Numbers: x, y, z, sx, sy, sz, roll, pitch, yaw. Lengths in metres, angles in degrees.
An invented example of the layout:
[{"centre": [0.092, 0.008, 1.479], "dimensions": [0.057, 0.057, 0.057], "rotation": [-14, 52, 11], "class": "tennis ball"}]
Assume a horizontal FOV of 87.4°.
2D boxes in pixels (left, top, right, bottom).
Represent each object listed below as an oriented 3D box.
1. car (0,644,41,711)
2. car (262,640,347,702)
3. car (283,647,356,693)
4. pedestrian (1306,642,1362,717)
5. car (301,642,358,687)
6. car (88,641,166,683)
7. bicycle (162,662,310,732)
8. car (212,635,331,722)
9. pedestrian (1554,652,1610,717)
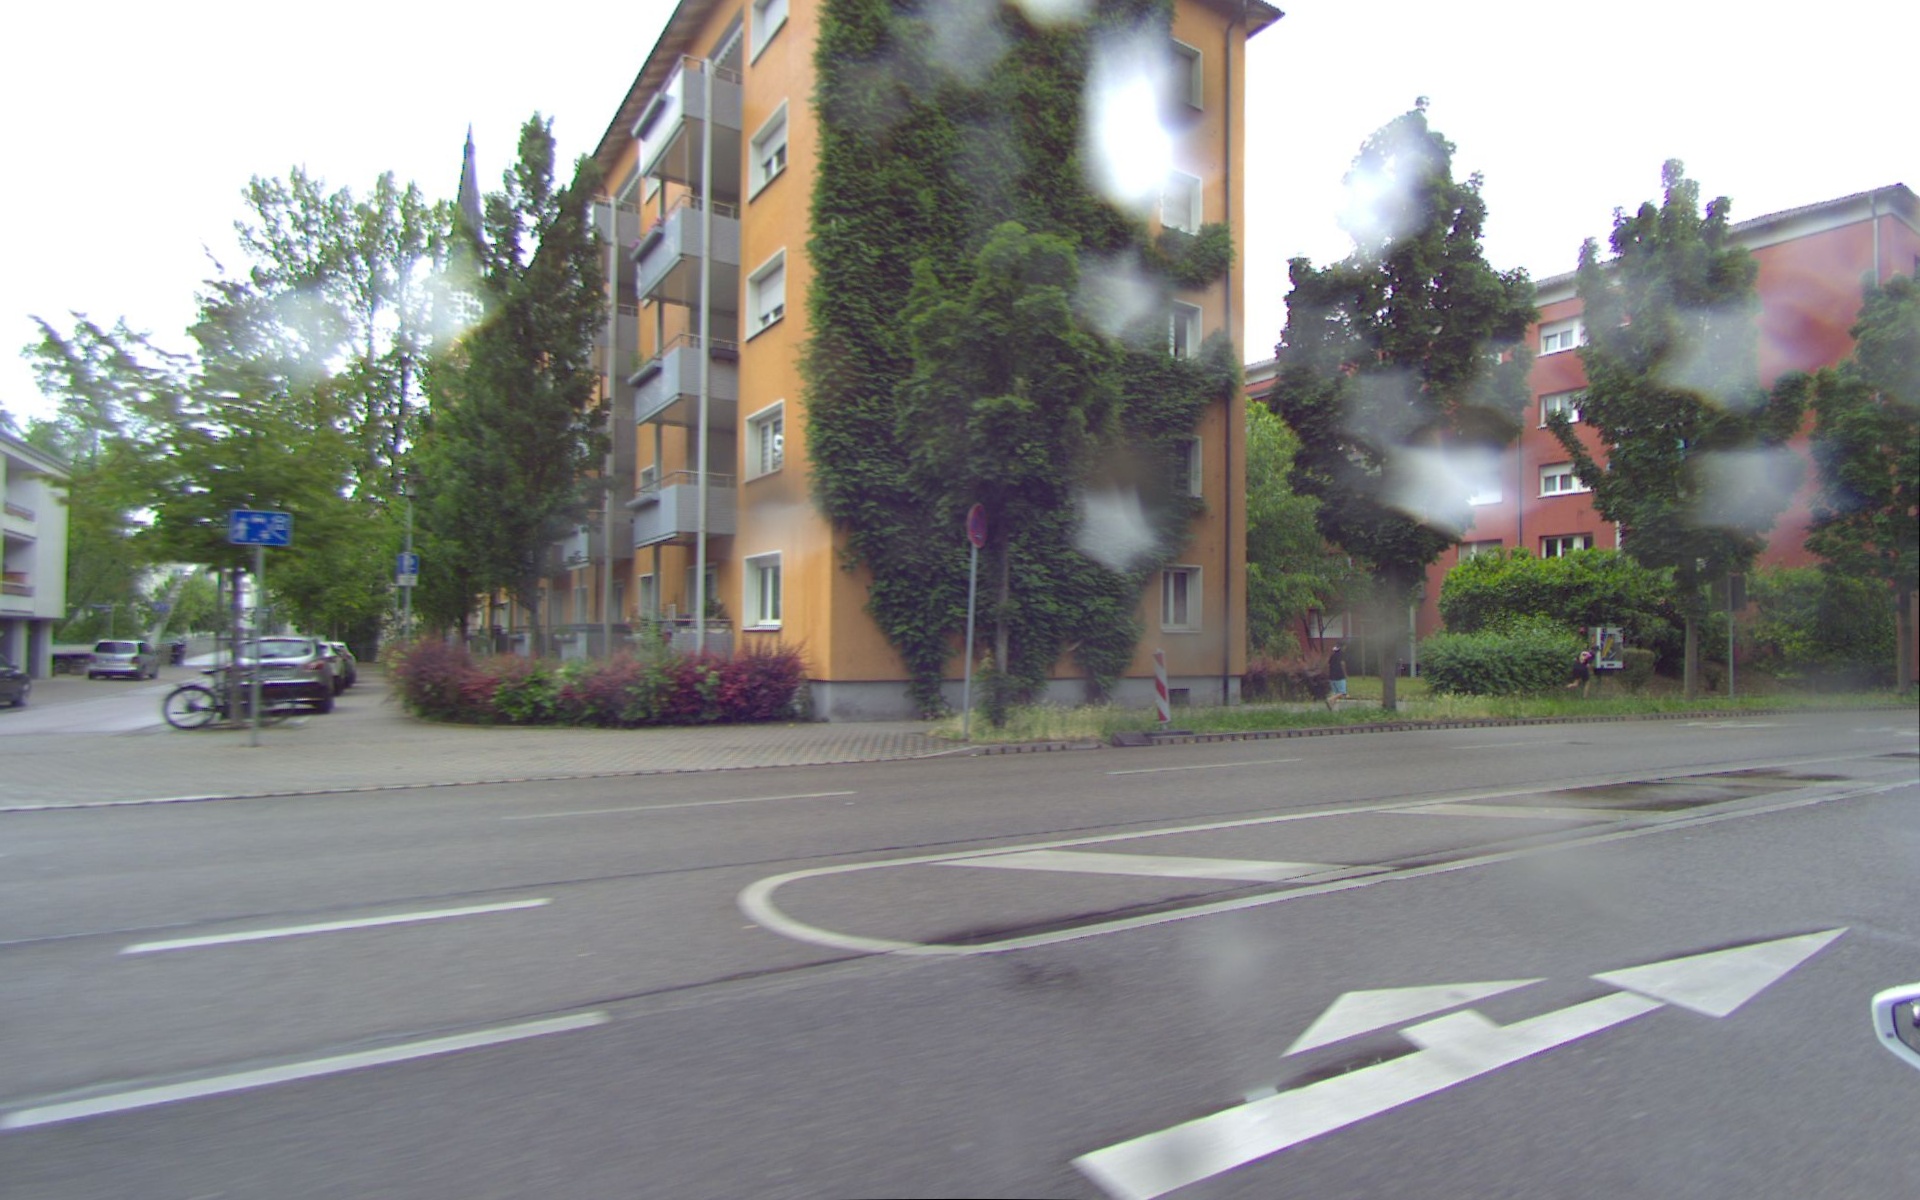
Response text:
[{"centre": [-22.760, 1.705, 22.813], "dimensions": [1.904, 1.505, 3.967], "rotation": [5, -6, -31], "class": "car"}, {"centre": [-19.264, 2.055, 29.643], "dimensions": [1.830, 1.683, 3.821], "rotation": [2, -3, -30], "class": "car"}, {"centre": [-22.062, 2.370, 34.683], "dimensions": [1.978, 1.494, 3.966], "rotation": [2, -4, -32], "class": "car"}, {"centre": [7.528, 1.582, 20.214], "dimensions": [0.825, 1.468, 0.669], "rotation": [1, -3, -27], "class": "pedestrian"}, {"centre": [-25.506, 2.598, 40.748], "dimensions": [1.765, 1.737, 3.675], "rotation": [2, -3, -30], "class": "car"}, {"centre": [-35.022, 2.594, 42.328], "dimensions": [1.830, 1.683, 3.821], "rotation": [2, -3, -30], "class": "car"}, {"centre": [-11.825, 1.560, 16.464], "dimensions": [1.918, 1.072, 0.526], "rotation": [2, -3, -38], "class": "bicycle"}, {"centre": [-14.391, 1.575, 21.186], "dimensions": [1.881, 1.613, 3.966], "rotation": [0, -2, -32], "class": "car"}, {"centre": [15.051, 2.023, 24.299], "dimensions": [1.056, 1.537, 0.690], "rotation": [1, -3, -27], "class": "pedestrian"}]
